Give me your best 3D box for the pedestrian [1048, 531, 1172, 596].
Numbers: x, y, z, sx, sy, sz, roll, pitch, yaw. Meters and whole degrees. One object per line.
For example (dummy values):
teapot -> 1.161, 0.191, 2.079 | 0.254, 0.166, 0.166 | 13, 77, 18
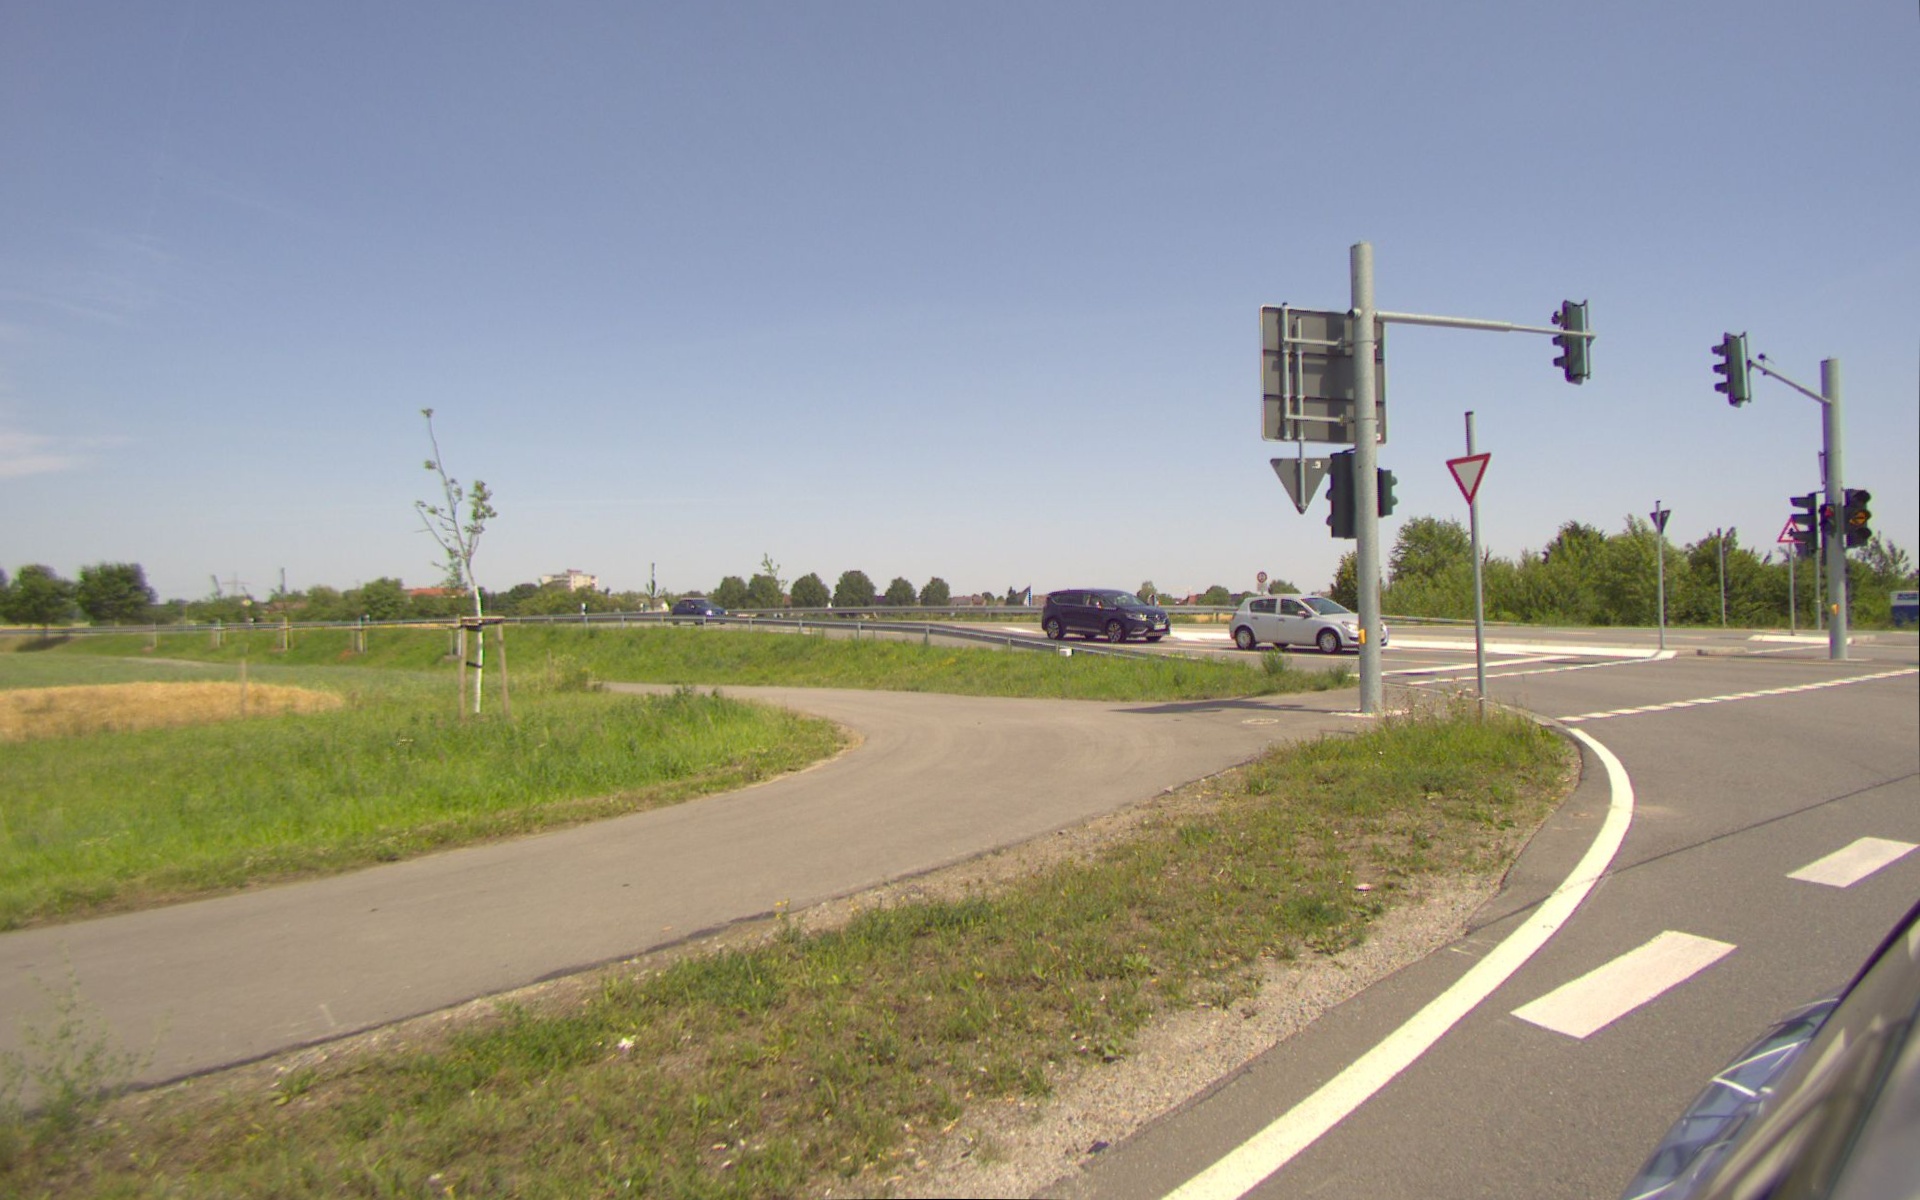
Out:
pedestrian -> 5.031, -1.189, 33.708 | 3.928, 2.039, 1.998 | -1, 1, -39

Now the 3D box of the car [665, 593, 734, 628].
car -> -14.345, 0.605, 55.656 | 3.905, 1.831, 1.891 | -2, -1, 43

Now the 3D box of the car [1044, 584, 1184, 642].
car -> 4.773, 0.360, 32.001 | 1.779, 1.661, 4.528 | -1, 1, -34

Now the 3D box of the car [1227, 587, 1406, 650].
car -> 8.951, 0.442, 25.742 | 1.629, 1.478, 4.153 | -1, 0, -34
